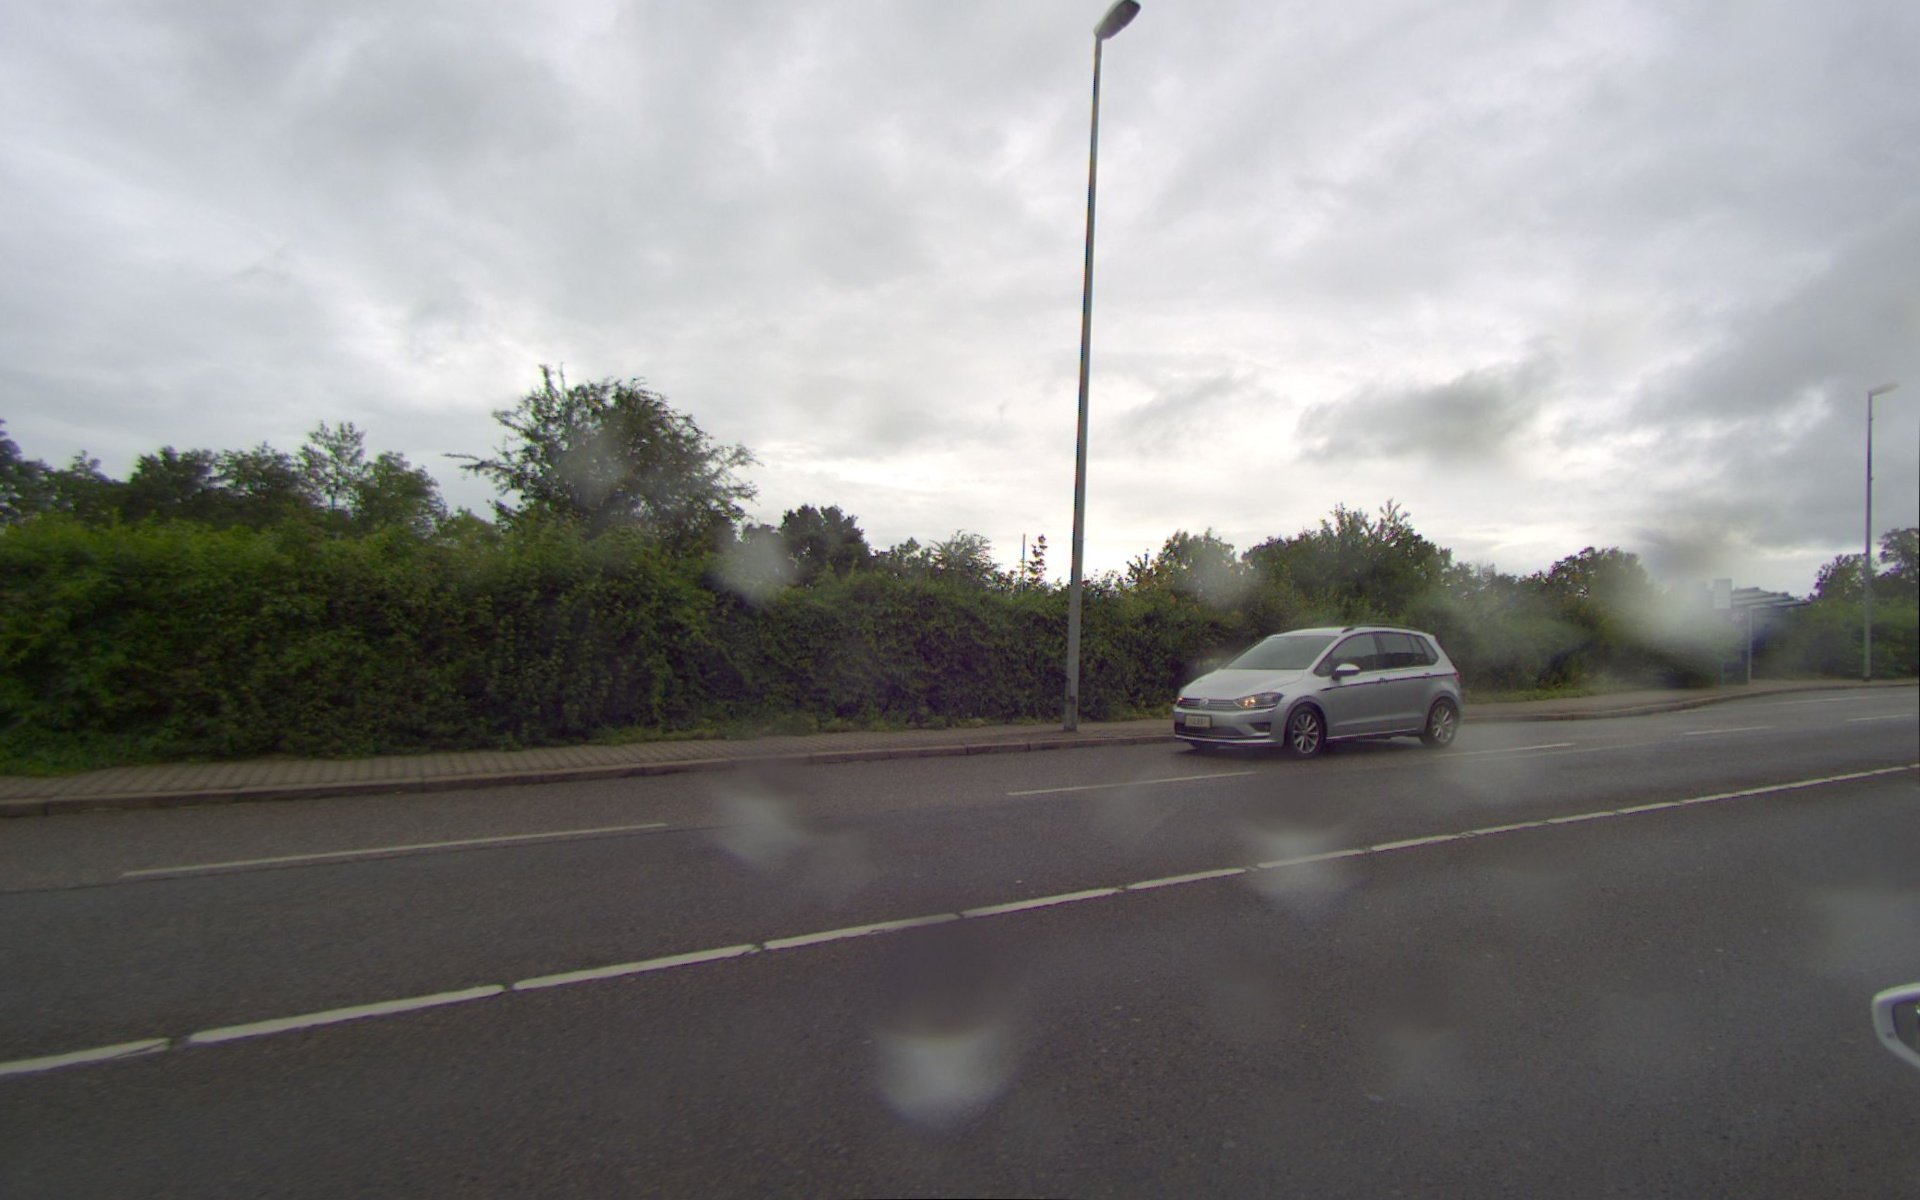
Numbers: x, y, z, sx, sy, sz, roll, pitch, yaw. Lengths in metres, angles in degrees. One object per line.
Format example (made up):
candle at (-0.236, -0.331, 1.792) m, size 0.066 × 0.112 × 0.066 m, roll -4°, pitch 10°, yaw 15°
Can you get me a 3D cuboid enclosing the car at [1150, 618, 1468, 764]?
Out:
car at (4.485, 1.087, 12.789) m, size 3.956 × 1.589 × 1.747 m, roll 2°, pitch -3°, yaw -32°
